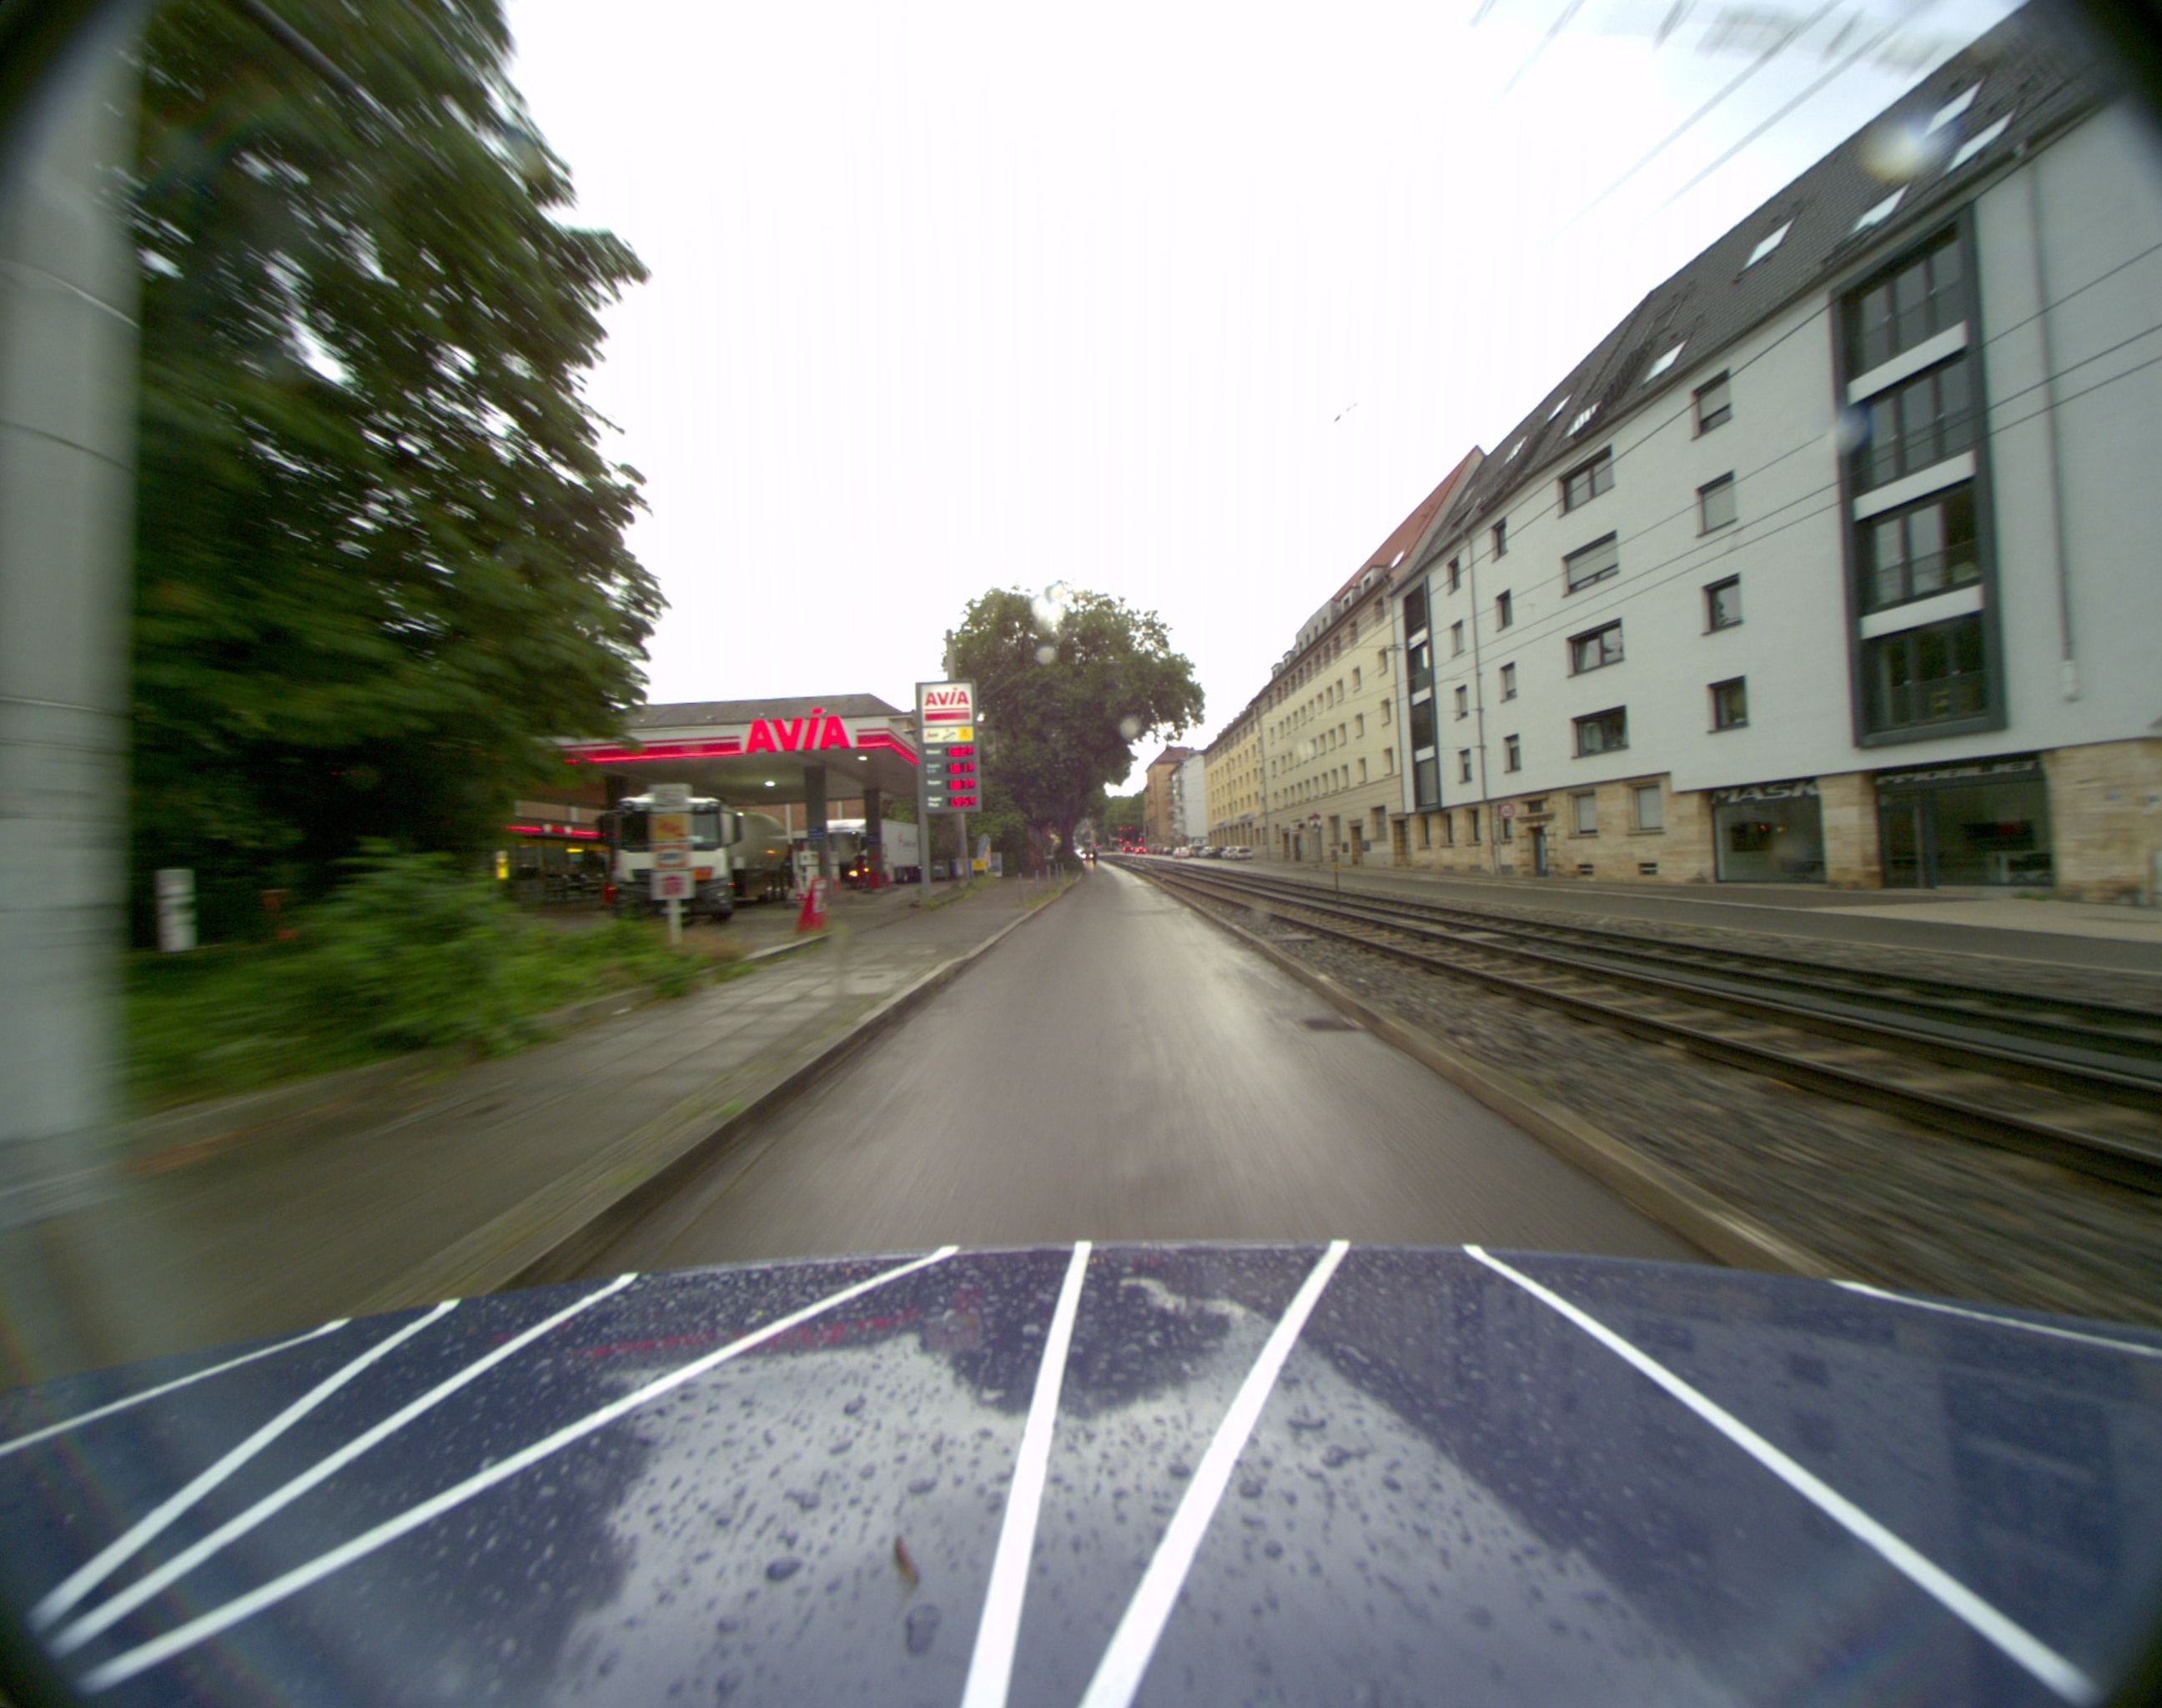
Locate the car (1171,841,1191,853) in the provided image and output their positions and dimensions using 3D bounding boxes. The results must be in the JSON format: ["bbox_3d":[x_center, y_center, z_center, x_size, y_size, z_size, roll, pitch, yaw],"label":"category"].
[{"bbox_3d":[13.233,-0.931,100.699,1.691,1.528,5.015,-1,1,-2],"label":"car"}]

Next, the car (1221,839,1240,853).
[{"bbox_3d":[16.917,-0.901,86.036,1.326,1.476,3.189,-2,1,-3],"label":"car"}]

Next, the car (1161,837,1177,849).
[{"bbox_3d":[15.508,-1.919,134.179,2.030,2.002,4.225,-2,1,-3],"label":"car"}]

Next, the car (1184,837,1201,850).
[{"bbox_3d":[16.138,-1.494,109.718,1.727,1.798,3.590,-2,1,-3],"label":"car"}]

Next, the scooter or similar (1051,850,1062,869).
[{"bbox_3d":[-1.698,0.384,53.176,0.400,1.186,1.363,-1,4,14],"label":"scooter or similar"}]

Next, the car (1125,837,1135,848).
[{"bbox_3d":[11.641,-2.725,180.237,2.184,2.420,4.748,-2,1,0],"label":"car"}]

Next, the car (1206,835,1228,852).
[{"bbox_3d":[16.633,-1.273,93.042,1.729,1.949,4.297,-2,1,-1],"label":"car"}]

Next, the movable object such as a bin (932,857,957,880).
[{"bbox_3d":[-8.607,0.920,47.971,1.286,1.392,1.073,-1,1,2],"label":"movable object such as a bin"}]

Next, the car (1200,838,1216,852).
[{"bbox_3d":[16.449,-1.240,98.414,1.377,1.743,3.404,-2,2,-3],"label":"car"}]

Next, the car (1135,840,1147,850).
[{"bbox_3d":[11.943,-1.764,150.787,1.949,2.002,3.999,-2,1,0],"label":"car"}]

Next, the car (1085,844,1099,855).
[{"bbox_3d":[1.593,-0.621,108.737,1.889,1.482,3.849,-1,2,4],"label":"car"}]

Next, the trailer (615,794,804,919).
[{"bbox_3d":[-12.038,-0.041,25.912,2.813,3.377,9.826,-2,1,-9],"label":"trailer"}]

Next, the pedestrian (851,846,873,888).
[{"bbox_3d":[-10.614,0.628,36.794,0.810,2.029,0.651,-1,1,1],"label":"pedestrian"}]

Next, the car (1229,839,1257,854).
[{"bbox_3d":[17.379,-0.835,81.648,2.030,1.533,3.998,-2,1,-3],"label":"car"}]

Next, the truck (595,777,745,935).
[{"bbox_3d":[-10.461,0.000,19.590,2.841,3.380,6.111,-2,1,-27],"label":"truck"}]

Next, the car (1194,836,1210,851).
[{"bbox_3d":[16.405,-1.445,103.272,1.557,1.872,4.040,-2,1,0],"label":"car"}]

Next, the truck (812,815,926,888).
[{"bbox_3d":[-11.540,-0.270,42.674,2.659,3.549,10.256,-1,1,5],"label":"truck"}]
